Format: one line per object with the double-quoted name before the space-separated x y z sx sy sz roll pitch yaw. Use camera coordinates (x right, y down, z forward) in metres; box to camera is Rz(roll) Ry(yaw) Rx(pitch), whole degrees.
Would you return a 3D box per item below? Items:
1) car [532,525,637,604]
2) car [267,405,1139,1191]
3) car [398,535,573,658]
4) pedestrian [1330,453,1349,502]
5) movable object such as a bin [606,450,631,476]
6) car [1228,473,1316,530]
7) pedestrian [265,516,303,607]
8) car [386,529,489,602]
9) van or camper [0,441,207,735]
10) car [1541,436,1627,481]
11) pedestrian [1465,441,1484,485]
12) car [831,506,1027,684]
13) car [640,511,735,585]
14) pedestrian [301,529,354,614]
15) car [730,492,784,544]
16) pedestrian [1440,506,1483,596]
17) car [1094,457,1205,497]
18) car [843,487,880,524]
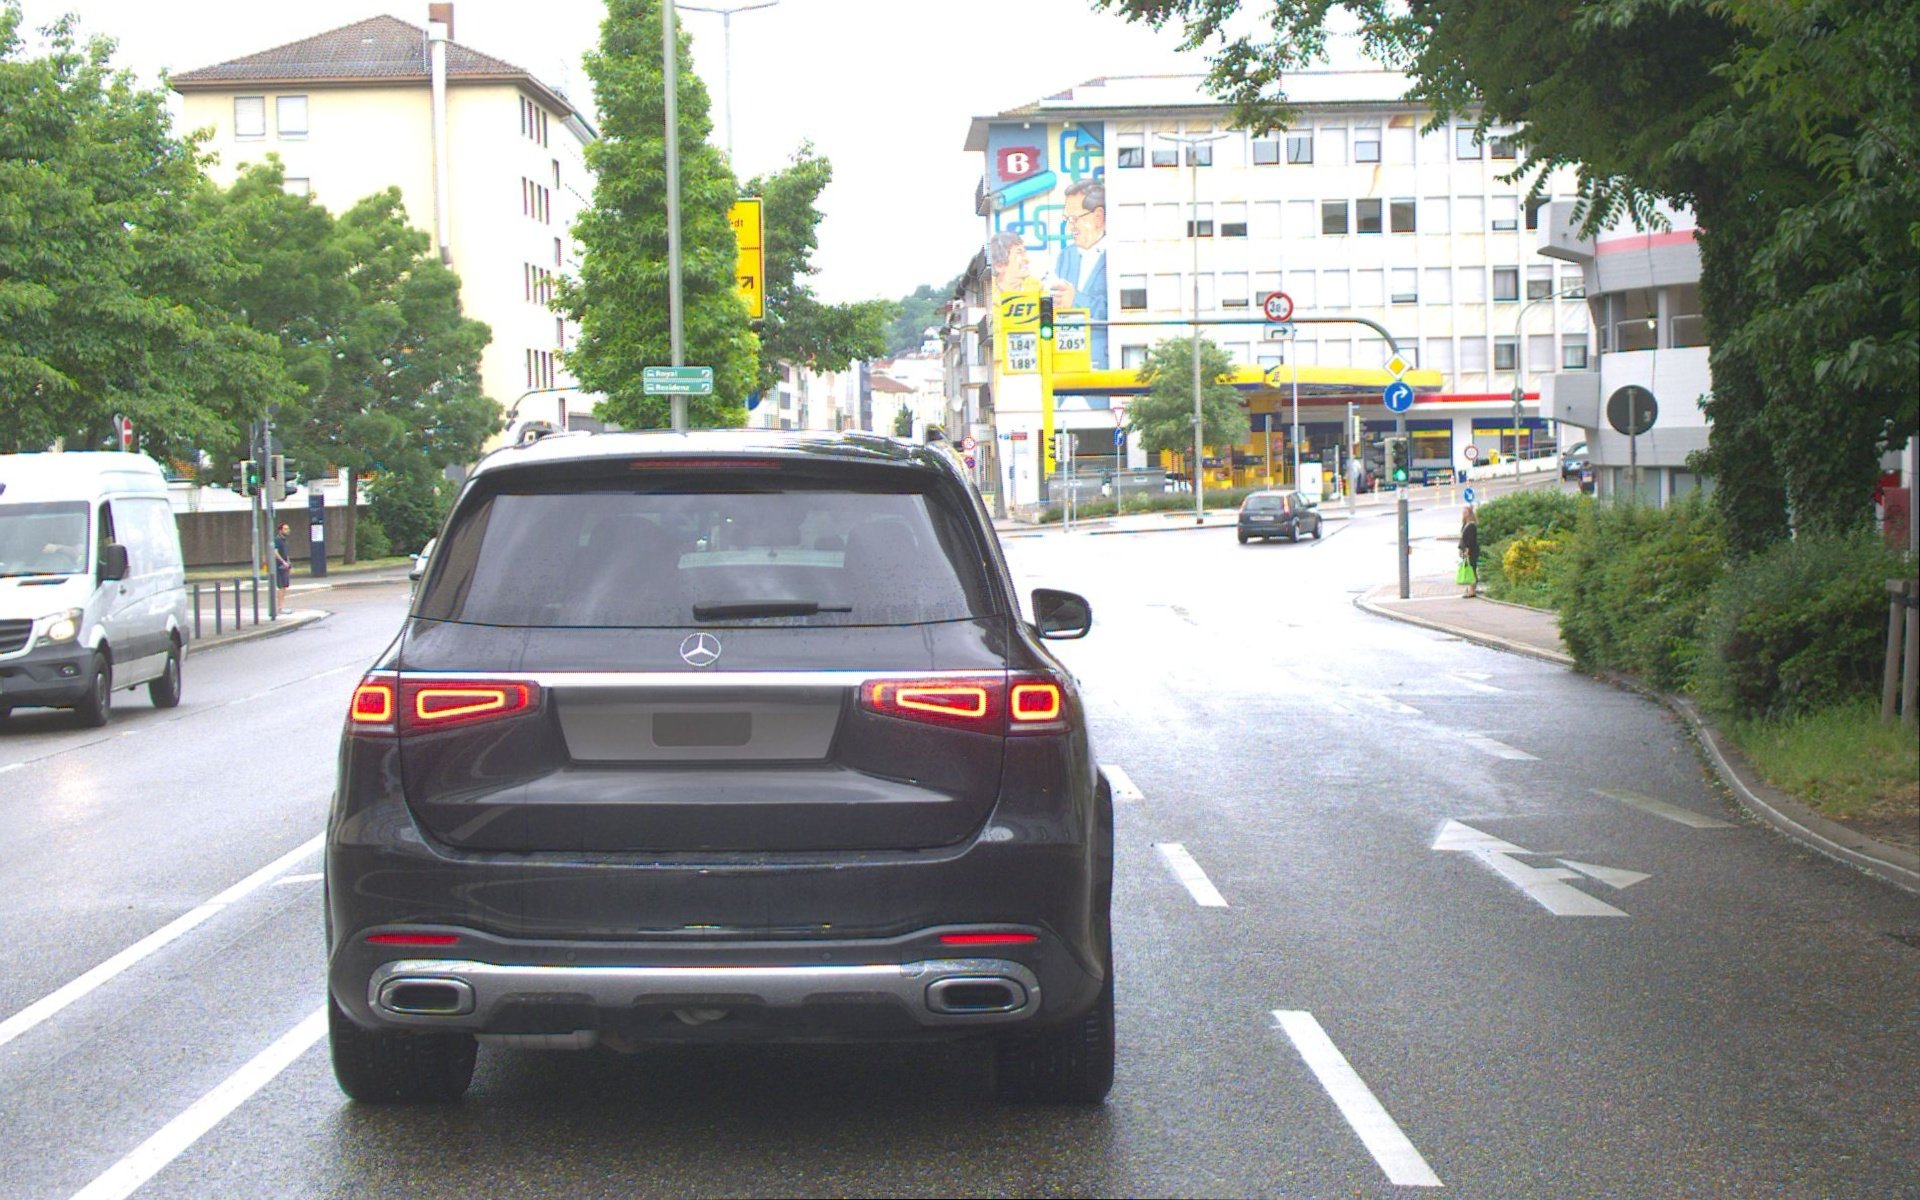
"car" -7.606 -0.733 69.905 1.811 1.457 4.289 -3 1 -3
"car" -0.617 0.438 9.953 1.993 1.794 4.000 1 1 -1
"car" -6.317 -0.080 46.227 1.883 1.492 4.563 -2 1 -3
"pedestrian" 13.278 -4.301 120.359 0.572 1.691 0.631 1 0 1
"movable object such as a bin" -14.026 -5.639 141.227 0.910 1.034 0.844 1 0 1
"car" 8.738 -2.758 95.965 1.797 1.520 4.053 1 2 14
"pedestrian" -13.300 -0.764 67.620 0.687 1.751 0.718 -1 2 -11
"car" -11.199 -0.740 73.881 1.797 1.489 3.804 1 1 -3
"van or camper" -8.963 -0.129 33.440 2.102 2.573 5.909 -3 1 -2
"car" 25.143 -5.696 138.415 1.997 1.700 3.993 0 2 33
"pedestrian" 20.480 -5.459 136.793 0.526 1.721 0.688 0 2 26
"car" -0.340 -0.072 37.324 1.993 1.794 4.000 1 1 -1
"car" -7.225 -1.402 91.581 1.891 1.805 4.574 -3 1 3
"pedestrian" -12.681 -0.574 68.926 0.946 1.699 0.713 1 0 -17
"car" -7.418 -2.986 125.826 1.868 1.833 3.820 1 1 -2
"pedestrian" 9.544 -0.937 65.410 0.646 1.704 0.470 1 0 36
"car" 7.061 -4.606 128.519 1.732 1.371 3.998 -4 3 -44
"car" -5.725 -5.496 200.372 1.993 2.007 4.000 1 1 0
